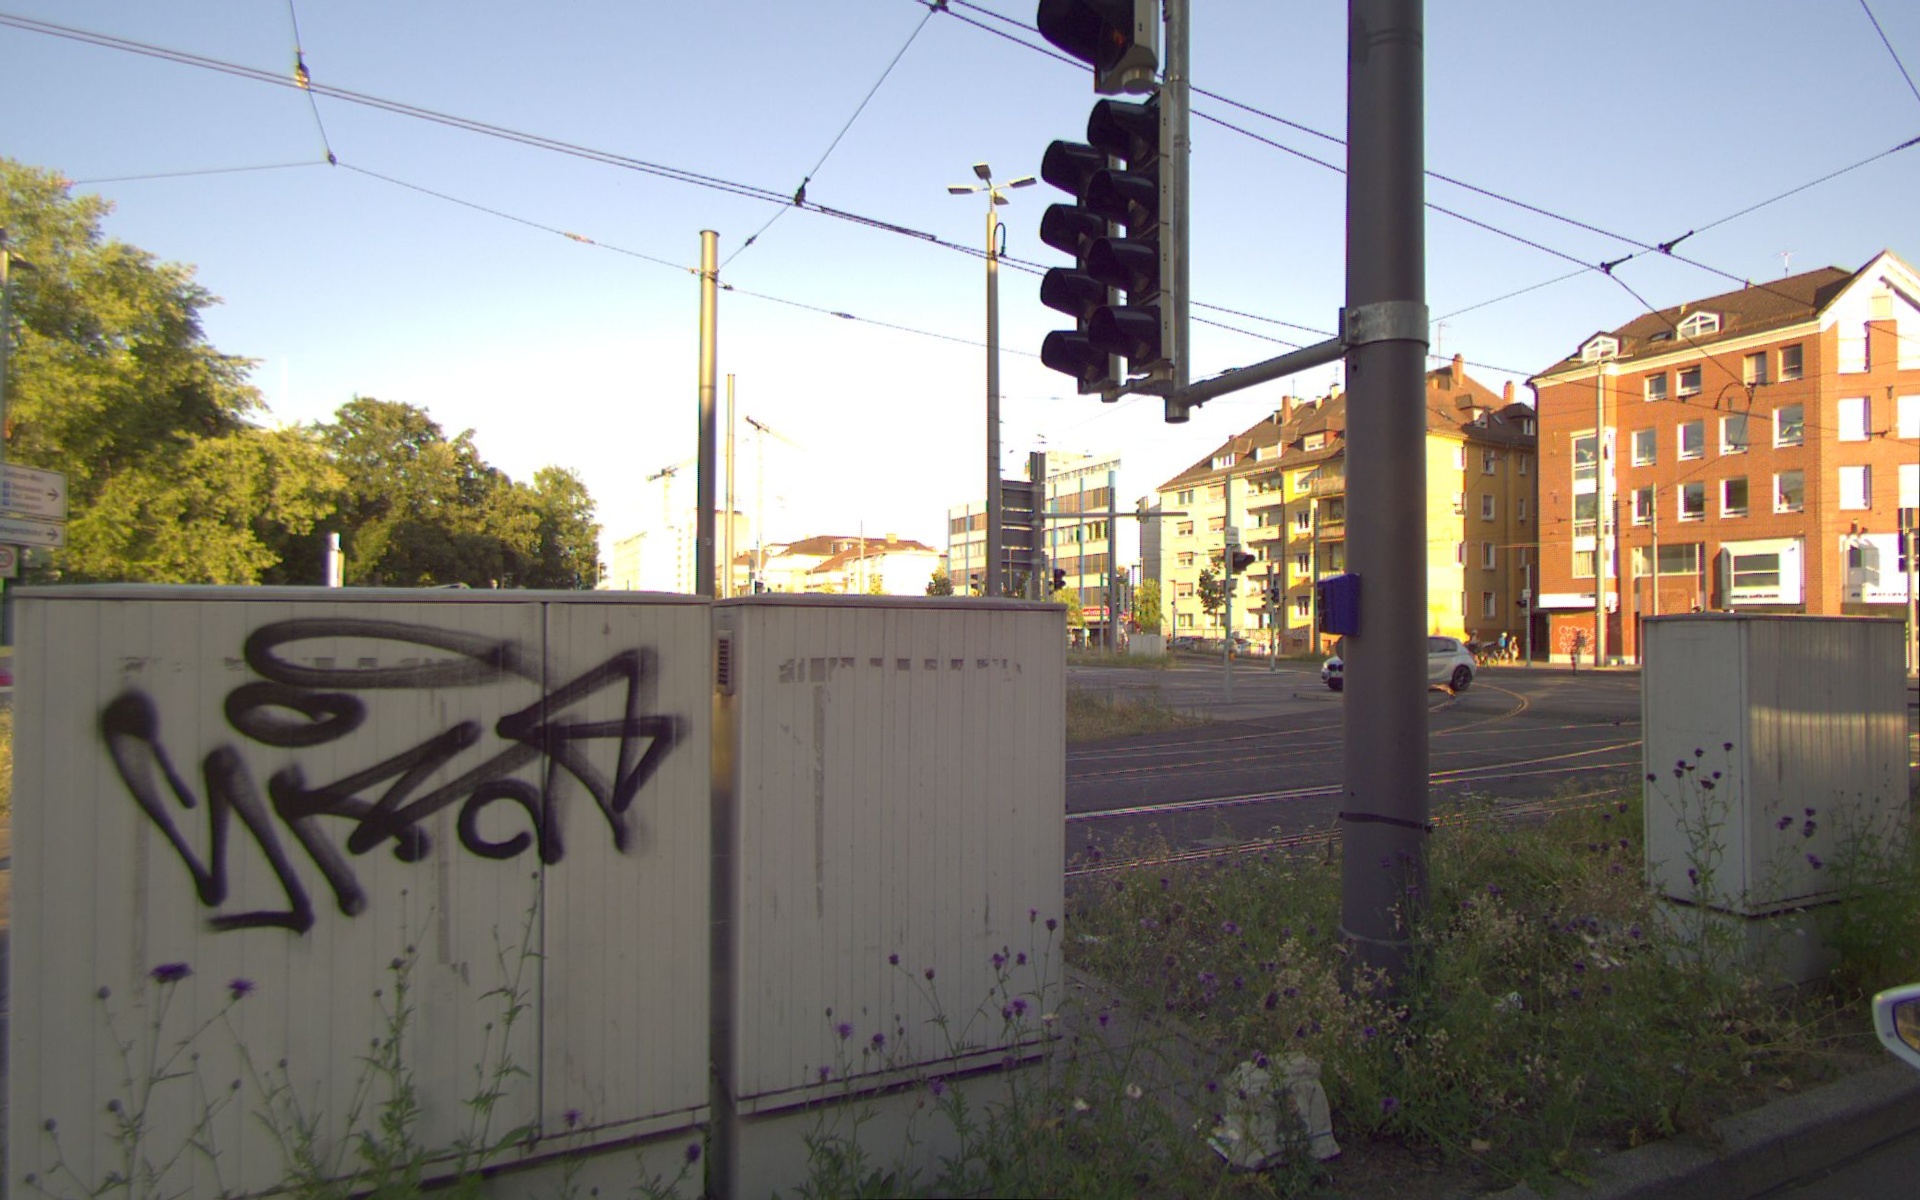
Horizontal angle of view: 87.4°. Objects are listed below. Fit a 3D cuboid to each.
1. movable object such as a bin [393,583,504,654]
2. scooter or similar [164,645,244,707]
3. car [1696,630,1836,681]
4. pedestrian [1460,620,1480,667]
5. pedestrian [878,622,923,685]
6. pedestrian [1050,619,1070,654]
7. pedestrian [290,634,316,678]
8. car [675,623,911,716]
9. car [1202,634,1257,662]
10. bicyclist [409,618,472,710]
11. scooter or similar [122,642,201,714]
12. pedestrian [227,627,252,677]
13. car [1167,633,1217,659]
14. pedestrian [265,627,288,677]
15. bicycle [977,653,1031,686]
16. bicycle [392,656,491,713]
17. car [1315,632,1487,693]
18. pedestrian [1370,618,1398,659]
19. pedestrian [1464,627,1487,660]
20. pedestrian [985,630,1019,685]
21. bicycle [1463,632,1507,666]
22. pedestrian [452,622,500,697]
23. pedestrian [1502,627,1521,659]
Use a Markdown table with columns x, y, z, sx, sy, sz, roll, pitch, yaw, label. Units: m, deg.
| x | y | z | sx | sy | sz | roll | pitch | yaw | label |
| --- | --- | --- | --- | --- | --- | --- | --- | --- | --- |
| -24.458 | 0.917 | 48.178 | 4.266 | 3.271 | 1.997 | 1 | -2 | -10 | movable object such as a bin |
| -16.195 | 1.608 | 21.545 | 0.508 | 1.288 | 1.255 | -1 | -2 | 26 | scooter or similar |
| 26.730 | 1.806 | 33.295 | 4.421 | 1.606 | 1.987 | 1 | -2 | -27 | car |
| 21.214 | 1.803 | 41.752 | 0.556 | 1.893 | 0.500 | 1 | 0 | -29 | pedestrian |
| -1.918 | 1.699 | 32.306 | 1.018 | 1.970 | 1.086 | 2 | -2 | -43 | pedestrian |
| 5.604 | 2.045 | 56.269 | 0.879 | 1.892 | 0.711 | 2 | -2 | -44 | pedestrian |
| -22.512 | 1.909 | 34.429 | 0.617 | 1.515 | 0.638 | 1 | -2 | -25 | pedestrian |
| -3.167 | 1.257 | 19.106 | 4.059 | 1.606 | 1.987 | 1 | -2 | -26 | car |
| 21.561 | 3.845 | 80.513 | 1.976 | 2.040 | 3.968 | 1 | 0 | -30 | car |
| -9.893 | 1.205 | 19.156 | 0.965 | 1.711 | 0.661 | 1 | -2 | -21 | bicyclist |
| -17.057 | 1.646 | 21.491 | 0.507 | 1.465 | 1.257 | 0 | -2 | 12 | scooter or similar |
| -24.250 | 1.737 | 33.808 | 0.596 | 1.680 | 0.529 | 2 | -2 | -44 | pedestrian |
| 19.437 | 3.834 | 84.317 | 1.976 | 2.040 | 3.968 | 1 | 0 | -30 | car |
| -23.102 | 1.753 | 33.958 | 0.593 | 1.680 | 0.531 | 1 | -2 | -32 | pedestrian |
| 1.522 | 2.444 | 35.394 | 0.886 | 1.074 | 1.990 | 1 | -2 | -35 | bicycle |
| -9.859 | 1.601 | 19.154 | 1.598 | 1.021 | 0.665 | 1 | -2 | -20 | bicycle |
| 11.360 | 1.570 | 25.878 | 4.141 | 1.467 | 1.666 | 1 | -2 | -22 | car |
| 19.639 | 1.776 | 46.545 | 0.924 | 1.893 | 0.839 | 1 | 0 | 6 | pedestrian |
| 30.416 | 2.533 | 59.263 | 0.830 | 1.893 | 0.934 | 1 | 0 | -33 | pedestrian |
| 1.492 | 2.011 | 35.411 | 0.886 | 1.936 | 0.838 | 1 | -2 | -35 | pedestrian |
| 21.615 | 2.018 | 41.334 | 1.991 | 1.343 | 0.615 | 1 | 0 | -29 | bicycle |
| -12.495 | 1.526 | 25.966 | 0.960 | 1.892 | 0.882 | 0 | -2 | -16 | pedestrian |
| 33.232 | 2.576 | 60.519 | 0.796 | 1.893 | 0.659 | 1 | 0 | 44 | pedestrian |
